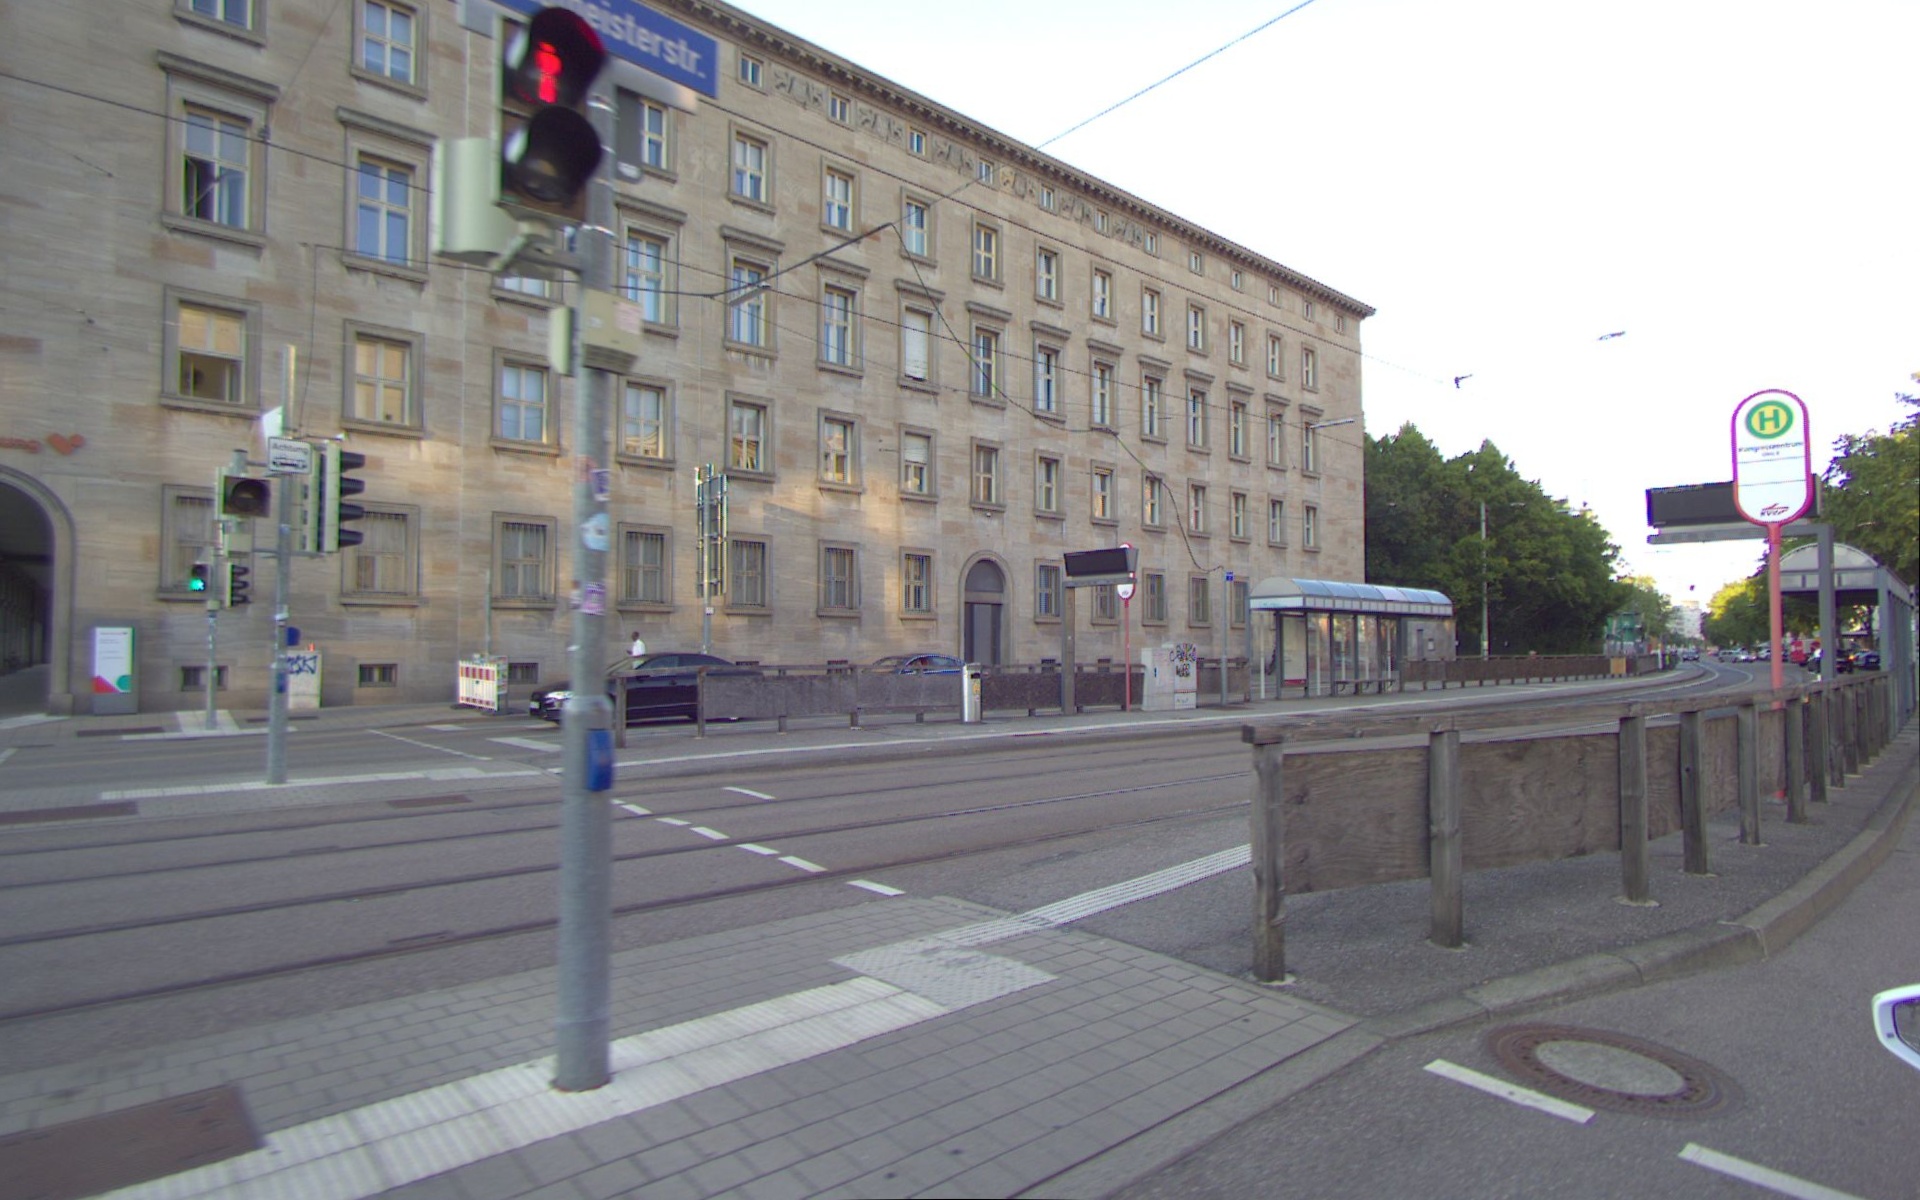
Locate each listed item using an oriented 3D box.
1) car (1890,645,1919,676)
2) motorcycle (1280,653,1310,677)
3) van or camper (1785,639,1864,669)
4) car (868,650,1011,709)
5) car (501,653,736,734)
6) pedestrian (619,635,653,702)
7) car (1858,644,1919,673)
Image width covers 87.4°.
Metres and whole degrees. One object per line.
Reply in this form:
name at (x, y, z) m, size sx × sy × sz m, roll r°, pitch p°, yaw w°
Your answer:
car at (54.982, 3.333, 56.281) m, size 3.875 × 1.648 × 1.675 m, roll -2°, pitch -3°, yaw 5°
motorcycle at (13.745, 2.660, 41.203) m, size 1.499 × 0.940 × 0.473 m, roll 2°, pitch -3°, yaw -41°
van or camper at (82.538, 5.212, 95.962) m, size 5.440 × 2.562 × 2.088 m, roll -3°, pitch -4°, yaw 1°
car at (-0.500, 2.063, 26.742) m, size 3.677 × 1.446 × 1.628 m, roll 2°, pitch -3°, yaw -42°
car at (-6.776, 1.798, 20.217) m, size 4.200 × 1.446 × 1.628 m, roll 2°, pitch -3°, yaw -42°
pedestrian at (-8.659, 1.820, 26.851) m, size 0.640 × 1.732 × 0.690 m, roll 2°, pitch -3°, yaw -38°
car at (59.040, 3.671, 62.896) m, size 3.877 × 1.689 × 1.903 m, roll -2°, pitch -4°, yaw -1°
